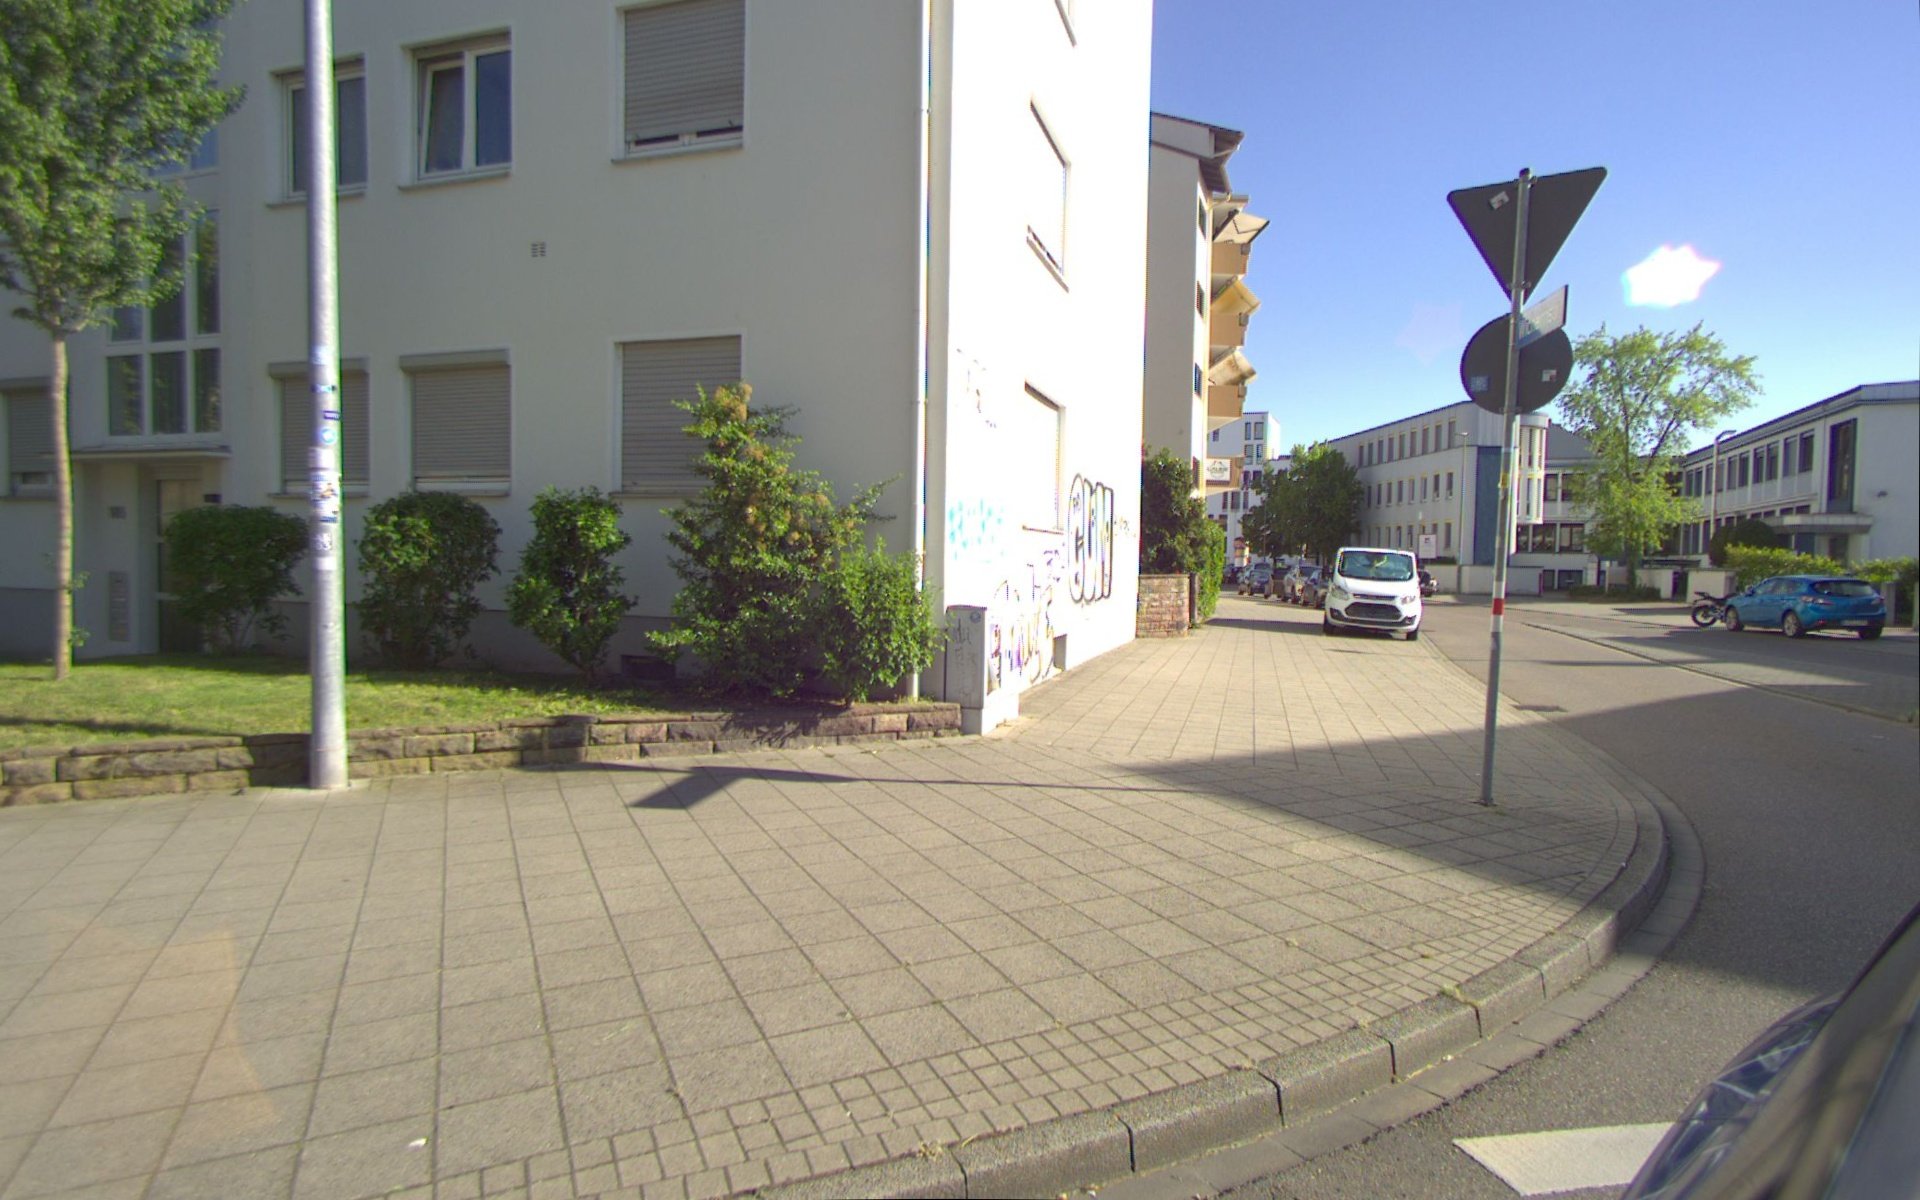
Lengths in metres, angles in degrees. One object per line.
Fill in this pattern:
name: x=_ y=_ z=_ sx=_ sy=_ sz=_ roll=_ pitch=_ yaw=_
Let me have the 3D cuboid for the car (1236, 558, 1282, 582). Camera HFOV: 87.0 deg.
car: x=23.557 y=-2.423 z=79.985 sx=2.098 sy=1.832 sz=4.838 roll=-1 pitch=2 yaw=-1

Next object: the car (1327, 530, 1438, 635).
car: x=9.634 y=-0.449 z=23.334 sx=1.977 sy=2.037 sz=4.765 roll=5 pitch=3 yaw=21

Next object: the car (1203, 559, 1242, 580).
car: x=23.288 y=-2.749 z=90.013 sx=2.098 sy=1.832 sz=4.838 roll=-1 pitch=2 yaw=-1

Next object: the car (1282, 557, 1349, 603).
car: x=14.433 y=-0.853 z=41.288 sx=1.730 sy=1.661 sz=3.992 roll=5 pitch=3 yaw=8

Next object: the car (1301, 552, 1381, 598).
car: x=13.728 y=-0.942 z=36.696 sx=1.730 sy=1.411 sz=3.993 roll=5 pitch=3 yaw=8

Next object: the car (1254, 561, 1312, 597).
car: x=15.353 y=-1.045 z=48.307 sx=1.728 sy=1.471 sz=3.996 roll=5 pitch=3 yaw=5

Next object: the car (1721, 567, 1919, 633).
car: x=20.793 y=-0.071 z=24.725 sx=1.857 sy=1.452 sz=4.398 roll=0 pitch=2 yaw=13

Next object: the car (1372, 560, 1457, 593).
car: x=23.933 y=-1.281 z=53.512 sx=2.097 sy=1.633 sz=4.840 roll=-1 pitch=2 yaw=-2

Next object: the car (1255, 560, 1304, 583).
car: x=23.619 y=-2.119 z=74.987 sx=2.098 sy=1.633 sz=4.464 roll=-1 pitch=2 yaw=-1

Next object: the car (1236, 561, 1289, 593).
car: x=15.734 y=-1.228 z=52.791 sx=1.728 sy=1.471 sz=3.997 roll=5 pitch=3 yaw=4

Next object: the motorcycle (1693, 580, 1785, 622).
motorcycle: x=21.342 y=-0.001 z=27.746 sx=1.957 sy=1.109 sz=0.581 roll=1 pitch=1 yaw=43
